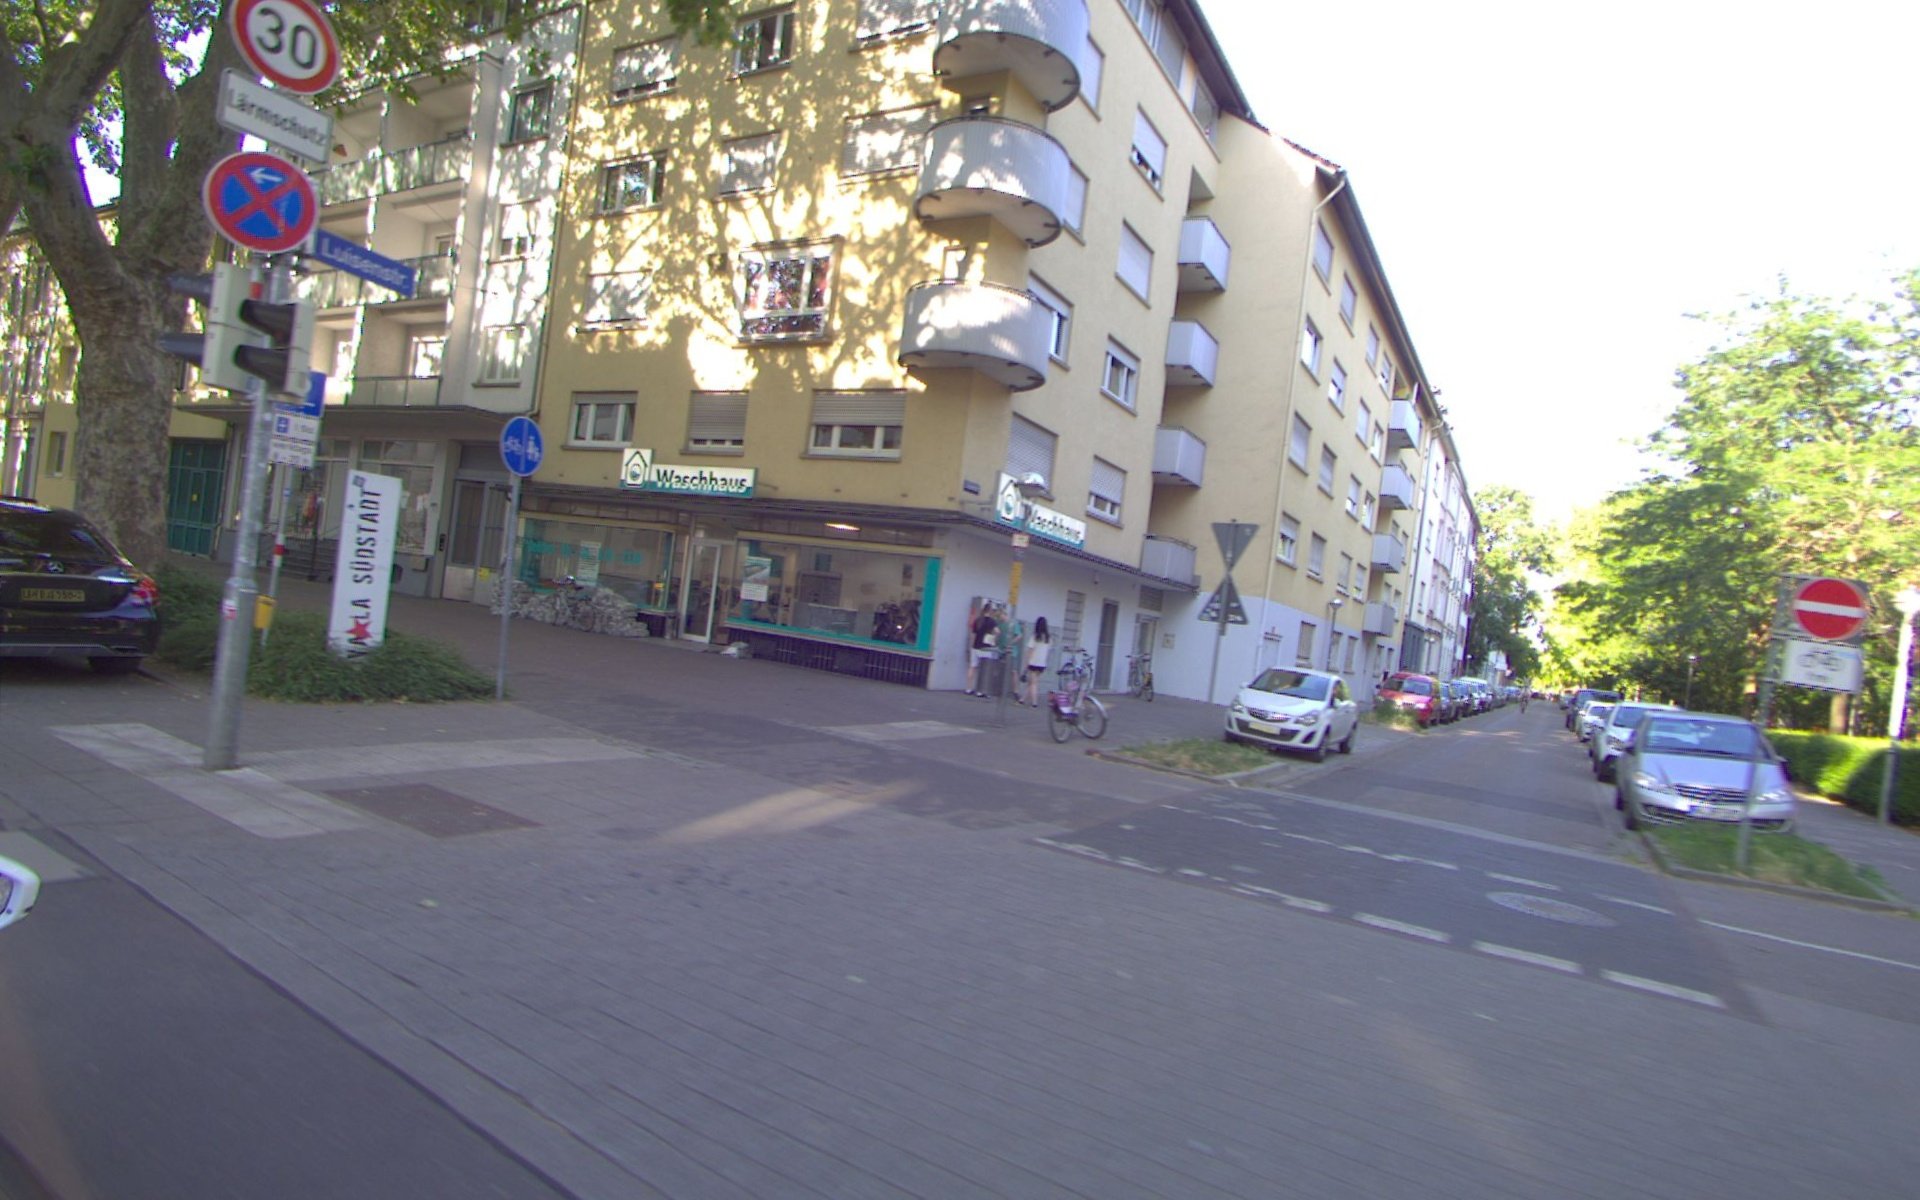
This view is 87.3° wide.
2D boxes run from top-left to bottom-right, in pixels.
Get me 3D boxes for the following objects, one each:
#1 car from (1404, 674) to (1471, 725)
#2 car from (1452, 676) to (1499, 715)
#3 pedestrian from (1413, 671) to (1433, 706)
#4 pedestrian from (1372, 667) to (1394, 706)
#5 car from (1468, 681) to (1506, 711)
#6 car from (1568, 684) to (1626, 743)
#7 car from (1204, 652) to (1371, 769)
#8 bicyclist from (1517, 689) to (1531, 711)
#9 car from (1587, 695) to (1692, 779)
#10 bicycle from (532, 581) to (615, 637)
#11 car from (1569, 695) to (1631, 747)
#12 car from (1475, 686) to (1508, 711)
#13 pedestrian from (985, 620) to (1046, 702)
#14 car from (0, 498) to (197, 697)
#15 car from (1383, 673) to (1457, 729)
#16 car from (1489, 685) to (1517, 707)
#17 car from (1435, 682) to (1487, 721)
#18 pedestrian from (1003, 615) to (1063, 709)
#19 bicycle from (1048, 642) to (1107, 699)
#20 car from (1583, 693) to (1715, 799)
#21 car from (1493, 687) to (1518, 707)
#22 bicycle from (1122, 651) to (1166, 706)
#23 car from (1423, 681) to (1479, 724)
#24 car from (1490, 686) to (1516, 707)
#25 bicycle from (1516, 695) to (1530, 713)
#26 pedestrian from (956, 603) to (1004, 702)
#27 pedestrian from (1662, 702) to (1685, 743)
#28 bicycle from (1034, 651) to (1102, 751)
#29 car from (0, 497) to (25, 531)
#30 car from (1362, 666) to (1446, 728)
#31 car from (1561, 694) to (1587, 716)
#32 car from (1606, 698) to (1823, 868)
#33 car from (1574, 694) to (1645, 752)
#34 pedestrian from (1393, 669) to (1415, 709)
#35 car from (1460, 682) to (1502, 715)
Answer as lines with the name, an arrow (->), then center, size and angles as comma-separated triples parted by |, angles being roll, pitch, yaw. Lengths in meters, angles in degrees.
car -> 18.762, 3.873, 39.454 | 1.834, 1.571, 3.867 | 10, 1, 31
car -> 28.896, 5.339, 56.340 | 1.834, 1.829, 3.867 | 10, 1, 31
pedestrian -> 22.298, 4.264, 48.451 | 0.678, 1.604, 0.772 | 7, 0, 26
pedestrian -> 18.340, 3.738, 43.610 | 0.644, 1.604, 0.772 | 7, 0, 26
car -> 34.742, 6.306, 66.240 | 1.834, 1.571, 3.867 | 10, 1, 31
car -> 28.247, 5.002, 44.685 | 1.835, 2.259, 3.867 | 7, -1, 31
car -> 5.974, 1.919, 18.057 | 1.834, 1.571, 3.867 | 10, 1, 31
bicyclist -> 36.835, 6.508, 65.731 | 0.641, 1.360, 0.697 | 7, 0, 31
car -> 17.388, 3.448, 25.916 | 1.835, 1.713, 3.867 | 7, -1, 31
bicycle -> -8.337, 0.193, 21.679 | 1.749, 1.010, 0.571 | 6, 1, 27
car -> 25.779, 4.821, 40.640 | 1.835, 1.713, 3.867 | 7, -1, 31
car -> 40.848, 7.533, 77.229 | 1.834, 1.571, 3.867 | 10, 1, 31
pedestrian -> 1.063, 1.145, 19.064 | 0.755, 1.432, 0.842 | 7, 0, 23
car -> -9.118, -0.229, 9.019 | 4.927, 1.480, 1.768 | 7, -1, 30
car -> 16.520, 3.592, 36.028 | 1.834, 1.571, 3.867 | 10, 1, 31
car -> 48.219, 8.516, 89.304 | 1.834, 1.571, 3.867 | 10, 1, 31
car -> 25.193, 5.073, 50.529 | 1.834, 1.571, 3.867 | 10, 1, 31
pedestrian -> 1.286, 1.095, 17.849 | 0.692, 1.558, 0.688 | 7, 0, -18
bicycle -> 2.686, 1.588, 22.822 | 0.592, 1.171, 1.693 | 7, 1, 31
car -> 14.180, 2.917, 20.902 | 1.835, 1.713, 3.867 | 7, -1, 31
car -> 54.237, 9.646, 100.032 | 1.834, 1.571, 3.867 | 10, 1, 31
bicycle -> 4.558, 1.924, 25.022 | 0.591, 1.171, 1.696 | 6, 1, -3
car -> 22.664, 4.683, 46.385 | 1.834, 1.571, 3.867 | 10, 1, 31
car -> 51.392, 9.127, 95.130 | 1.834, 1.571, 3.867 | 10, 1, 31
bicycle -> 36.741, 6.755, 65.626 | 0.641, 1.069, 1.541 | 7, 0, 30
pedestrian -> 0.381, 0.954, 18.359 | 0.649, 1.703, 0.703 | 7, 0, 4
pedestrian -> 29.923, 5.130, 42.191 | 0.646, 1.604, 0.770 | 7, 0, 36
bicycle -> 1.546, 1.375, 14.145 | 0.731, 1.171, 1.797 | 6, 1, 10
car -> -51.487, -4.731, 51.997 | 1.965, 1.612, 4.143 | 7, -1, 26
car -> 14.415, 3.122, 32.531 | 1.834, 1.571, 3.867 | 10, 1, 31
car -> 56.107, 9.560, 91.992 | 1.835, 1.713, 3.867 | 7, -1, 31
car -> 10.257, 2.362, 13.984 | 1.835, 1.713, 3.867 | 7, -1, 31
car -> 23.348, 4.373, 36.293 | 1.835, 1.713, 3.867 | 7, -1, 31
pedestrian -> 19.183, 3.839, 43.448 | 0.678, 1.604, 0.772 | 7, 0, 26
car -> 31.488, 5.935, 60.741 | 1.834, 1.571, 3.867 | 10, 1, 31
